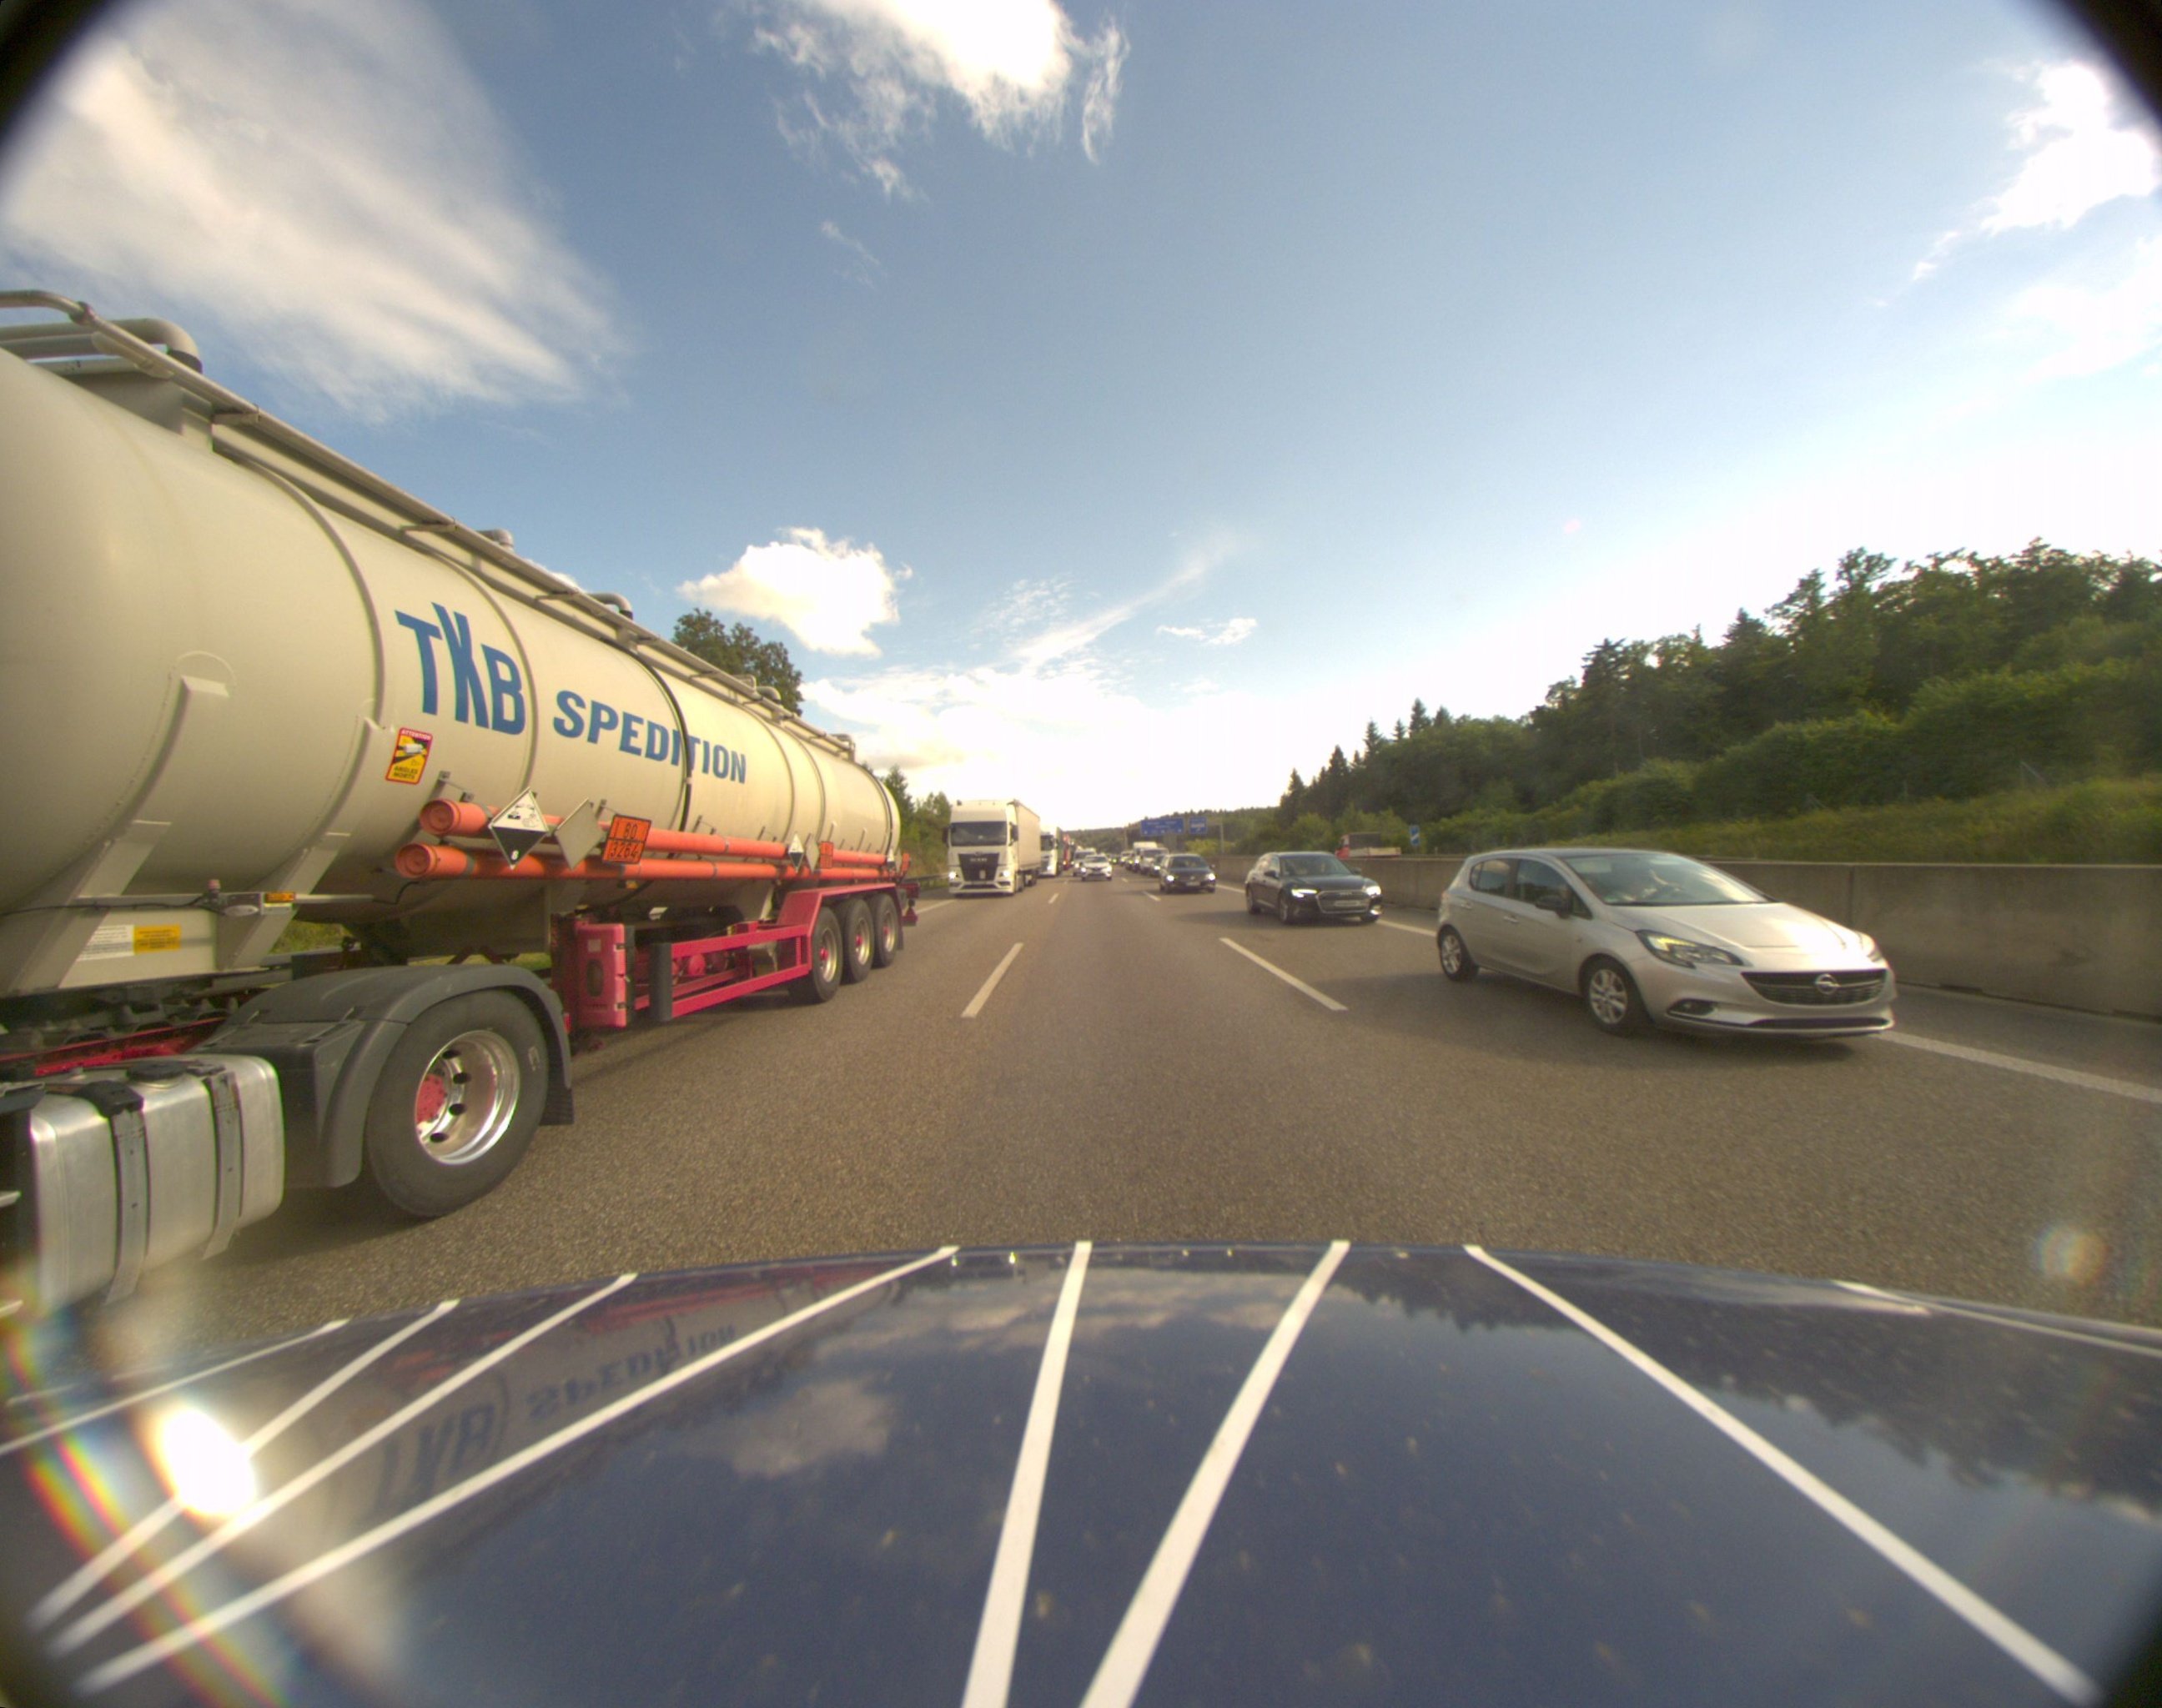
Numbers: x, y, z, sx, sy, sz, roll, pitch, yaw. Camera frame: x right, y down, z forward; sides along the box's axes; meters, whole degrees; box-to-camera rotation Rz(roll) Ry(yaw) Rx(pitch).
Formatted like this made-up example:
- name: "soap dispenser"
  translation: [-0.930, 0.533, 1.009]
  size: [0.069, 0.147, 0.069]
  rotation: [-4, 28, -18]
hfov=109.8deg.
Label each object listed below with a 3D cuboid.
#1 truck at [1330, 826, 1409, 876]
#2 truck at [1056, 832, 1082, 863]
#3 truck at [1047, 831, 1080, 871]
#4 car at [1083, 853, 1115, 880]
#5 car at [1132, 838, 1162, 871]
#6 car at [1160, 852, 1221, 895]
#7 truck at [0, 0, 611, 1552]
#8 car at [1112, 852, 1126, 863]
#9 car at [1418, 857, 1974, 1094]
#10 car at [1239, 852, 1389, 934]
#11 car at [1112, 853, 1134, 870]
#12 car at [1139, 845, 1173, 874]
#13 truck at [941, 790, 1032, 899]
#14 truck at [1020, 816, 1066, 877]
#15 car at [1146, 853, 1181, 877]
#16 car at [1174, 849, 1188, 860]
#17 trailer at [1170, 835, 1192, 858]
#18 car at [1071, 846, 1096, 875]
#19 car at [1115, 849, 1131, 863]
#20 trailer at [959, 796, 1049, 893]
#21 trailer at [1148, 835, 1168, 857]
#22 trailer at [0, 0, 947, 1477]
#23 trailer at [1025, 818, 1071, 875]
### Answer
- name: "truck"
  translation: [17.894, -0.180, 47.501]
  size: [2.429, 2.838, 6.430]
  rotation: [-2, 0, 0]
- name: "truck"
  translation: [-1.628, -0.932, 110.468]
  size: [2.840, 4.178, 12.045]
  rotation: [-2, 1, 3]
- name: "truck"
  translation: [-1.863, -0.408, 86.179]
  size: [2.840, 4.178, 12.045]
  rotation: [-2, 1, 3]
- name: "car"
  translation: [1.089, 0.738, 46.550]
  size: [1.809, 1.488, 4.666]
  rotation: [-1, 0, 1]
- name: "car"
  translation: [5.466, 0.010, 63.382]
  size: [2.054, 2.557, 5.861]
  rotation: [-1, 0, 1]
- name: "car"
  translation: [4.207, 0.701, 29.797]
  size: [1.915, 1.469, 4.569]
  rotation: [-1, 0, 3]
- name: "truck"
  translation: [-4.129, -0.254, 1.233]
  size: [2.809, 4.020, 5.903]
  rotation: [-2, 1, 2]
- name: "car"
  translation: [5.859, 0.565, 117.113]
  size: [1.920, 1.535, 3.811]
  rotation: [-2, 0, 1]
- name: "car"
  translation: [4.809, 0.781, 6.851]
  size: [1.751, 1.457, 4.041]
  rotation: [-1, 0, 0]
- name: "car"
  translation: [4.890, 0.739, 16.709]
  size: [1.887, 1.463, 4.852]
  rotation: [-2, 0, 2]
- name: "car"
  translation: [3.803, 0.685, 69.405]
  size: [1.809, 1.423, 3.660]
  rotation: [-2, 0, 1]
- name: "car"
  translation: [5.394, 0.367, 55.221]
  size: [1.947, 1.953, 4.848]
  rotation: [-2, 0, 1]
- name: "truck"
  translation: [-3.779, -0.371, 31.761]
  size: [2.841, 4.048, 5.707]
  rotation: [-2, 1, 2]
- name: "truck"
  translation: [-2.728, -0.529, 56.279]
  size: [2.841, 4.178, 5.707]
  rotation: [-2, 0, 1]
- name: "car"
  translation: [5.193, 0.671, 48.490]
  size: [1.809, 1.423, 3.994]
  rotation: [-2, 0, 1]
- name: "car"
  translation: [17.582, 0.074, 134.268]
  size: [1.857, 1.799, 4.624]
  rotation: [-2, 0, 0]
- name: "trailer"
  translation: [22.728, -1.701, 173.670]
  size: [2.934, 4.802, 14.651]
  rotation: [-2, 1, 0]
- name: "car"
  translation: [0.219, 0.481, 58.531]
  size: [1.809, 2.052, 4.770]
  rotation: [-2, 0, 1]
- name: "car"
  translation: [5.493, 0.238, 100.145]
  size: [1.920, 1.785, 3.811]
  rotation: [-2, 0, 1]
- name: "trailer"
  translation: [-3.574, -0.444, 39.128]
  size: [2.833, 4.047, 13.372]
  rotation: [-1, 0, 2]
- name: "trailer"
  translation: [18.459, -1.887, 183.180]
  size: [3.096, 5.044, 13.832]
  rotation: [-2, 1, 0]
- name: "trailer"
  translation: [-3.942, -0.295, 7.673]
  size: [2.805, 4.003, 11.182]
  rotation: [-2, 0, 2]
- name: "trailer"
  translation: [-2.561, -0.576, 63.645]
  size: [2.841, 4.177, 13.613]
  rotation: [-2, 0, 1]
